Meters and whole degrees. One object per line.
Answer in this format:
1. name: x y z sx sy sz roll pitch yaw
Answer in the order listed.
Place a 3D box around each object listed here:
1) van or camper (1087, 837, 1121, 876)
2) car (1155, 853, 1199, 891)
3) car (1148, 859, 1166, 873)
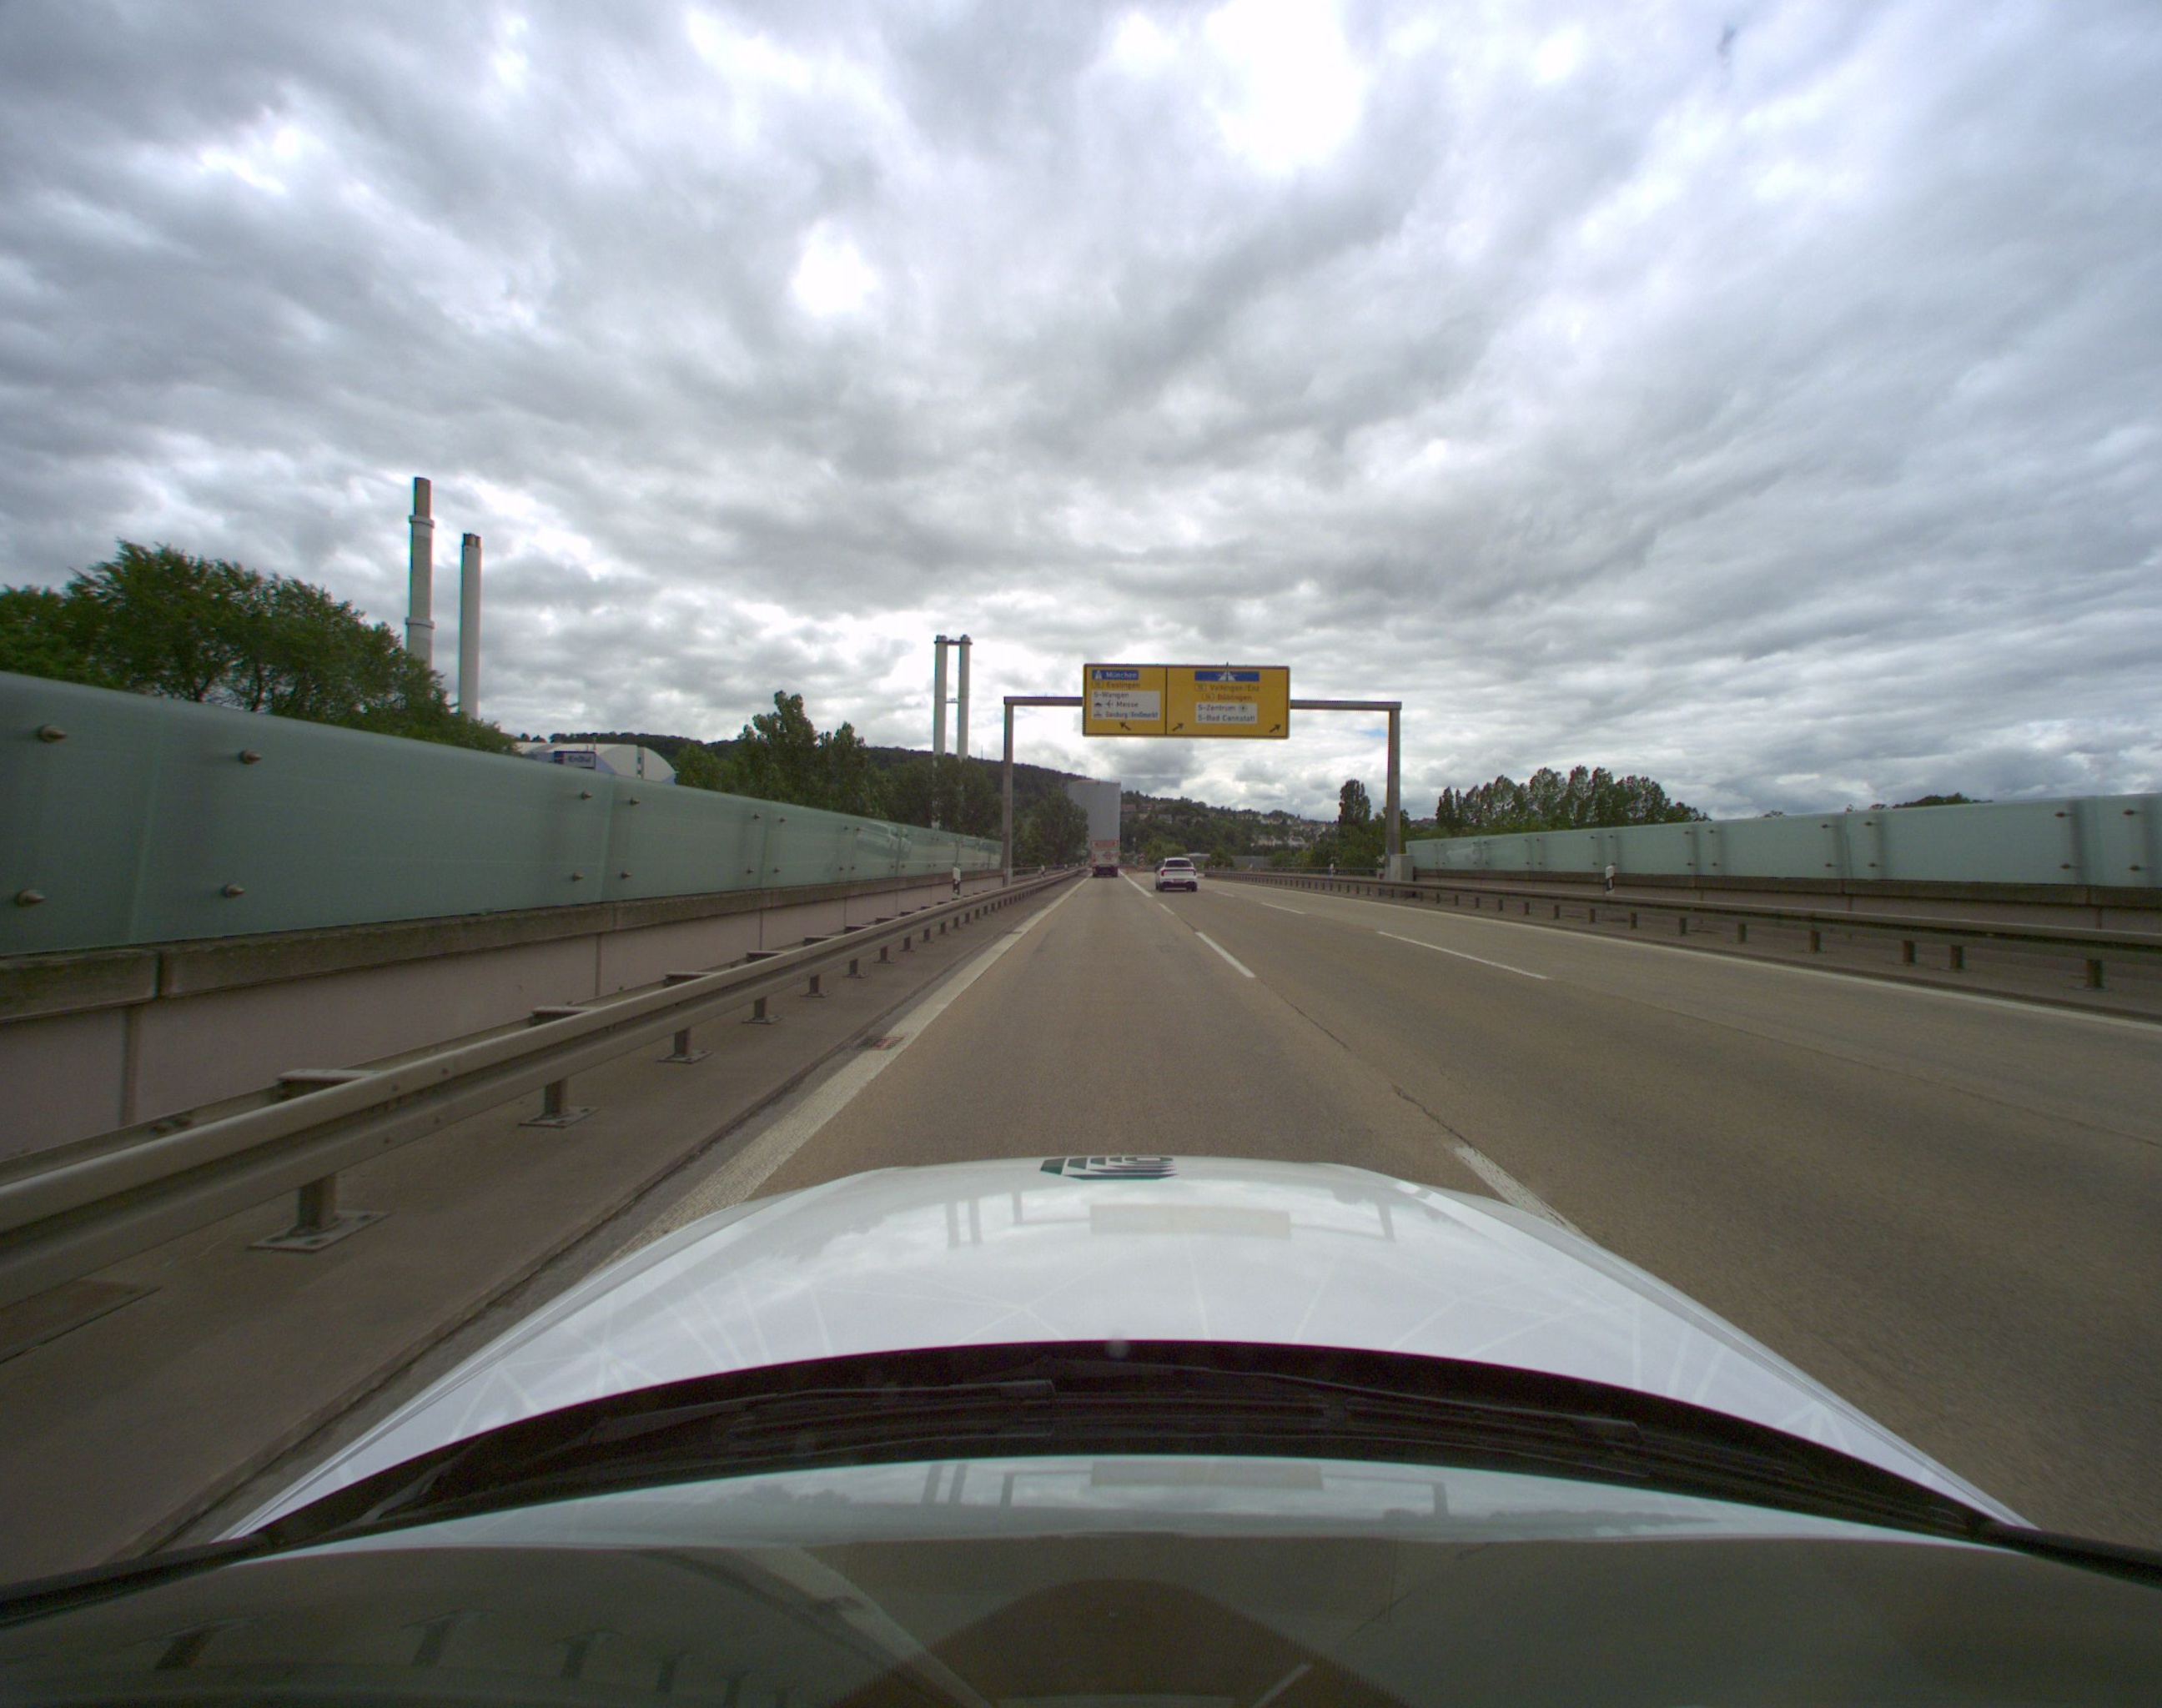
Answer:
1. van or camper: 2.364 0.257 79.278 3.109 3.579 8.555 -1 -1 3
2. car: 4.777 0.850 40.851 1.916 1.785 4.116 0 0 3
3. car: 10.059 1.506 107.284 1.911 1.785 4.126 0 0 12
